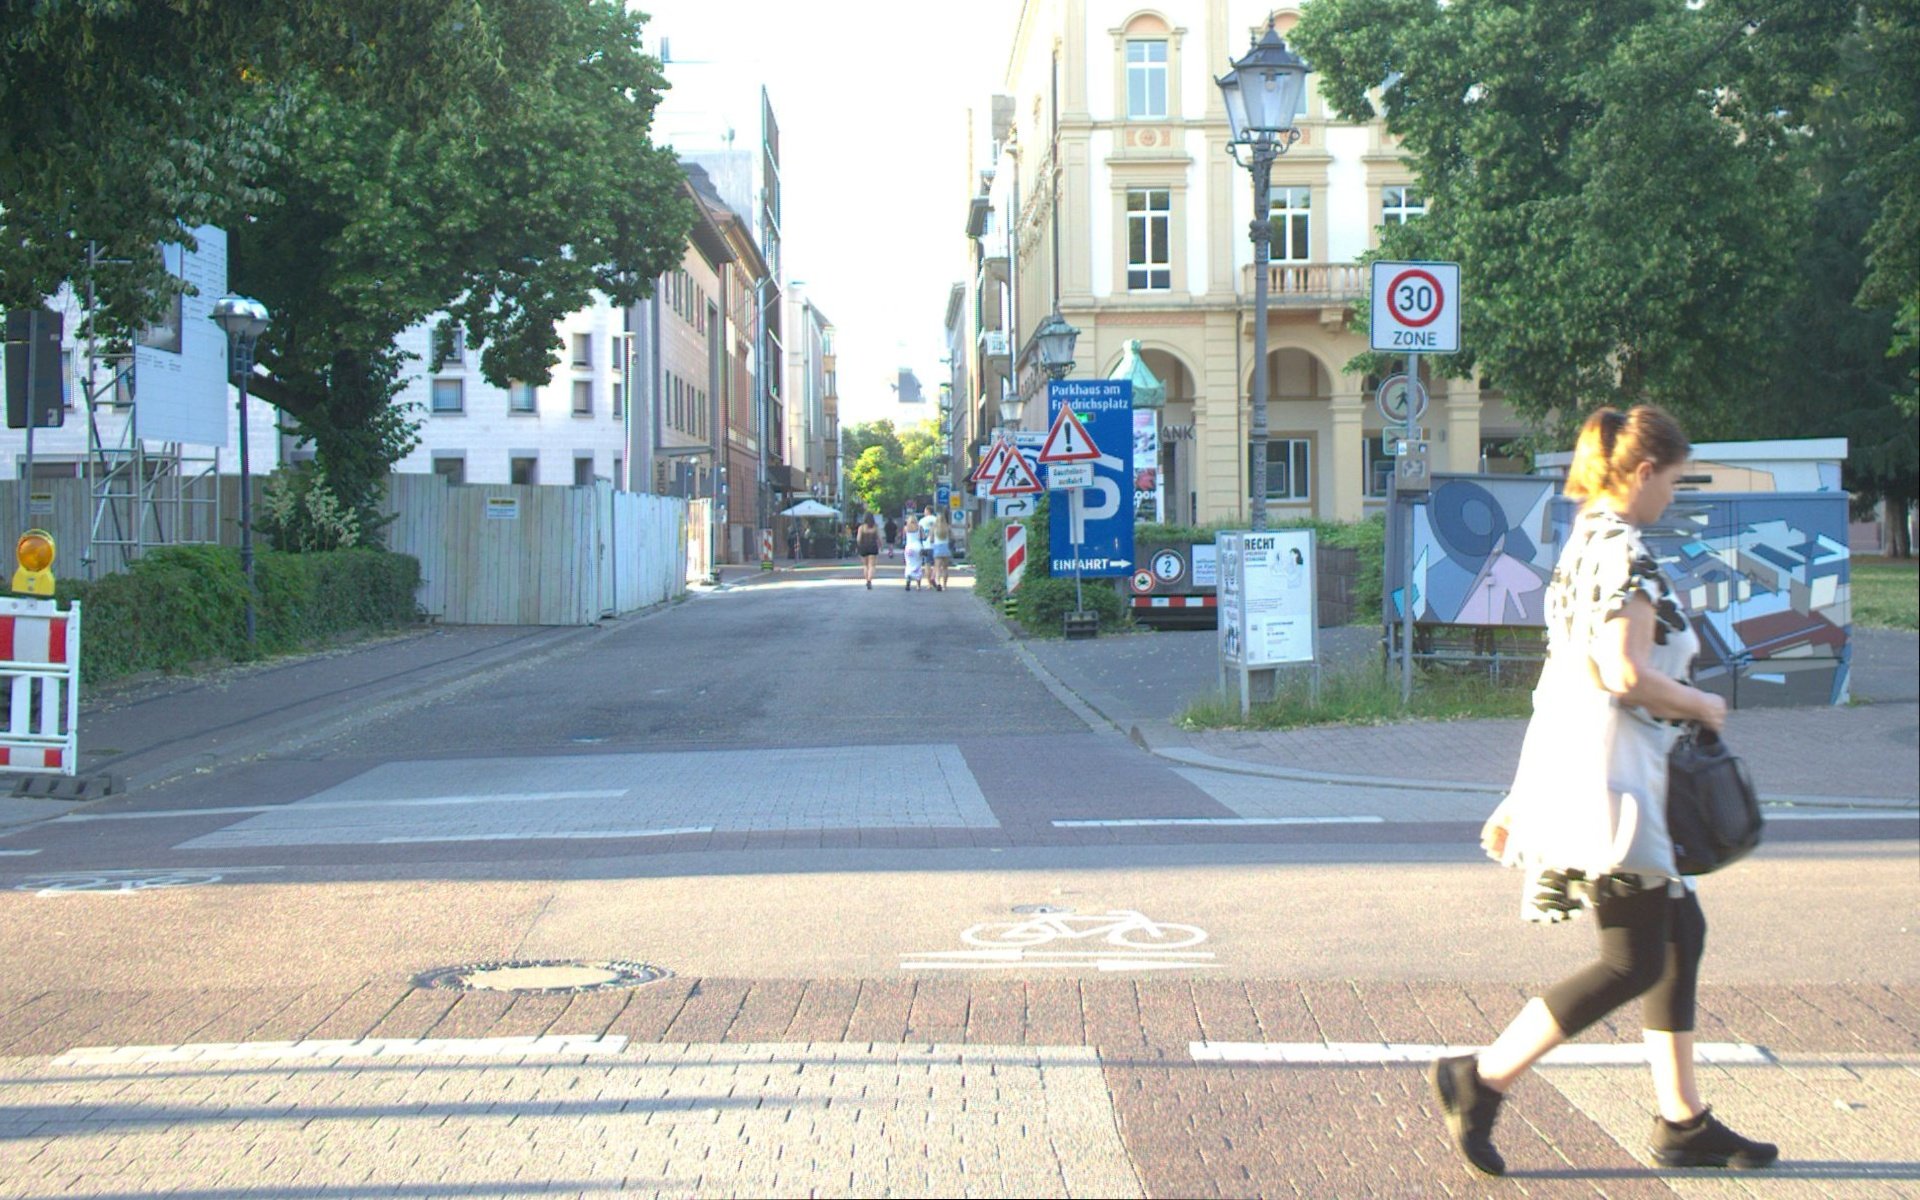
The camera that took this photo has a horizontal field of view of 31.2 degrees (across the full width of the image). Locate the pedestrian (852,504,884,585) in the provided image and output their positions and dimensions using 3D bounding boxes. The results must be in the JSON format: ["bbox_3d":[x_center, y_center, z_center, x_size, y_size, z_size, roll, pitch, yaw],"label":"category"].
[{"bbox_3d":[-2.006,-1.212,75.340,0.657,1.754,0.745,-1,1,0],"label":"pedestrian"}]

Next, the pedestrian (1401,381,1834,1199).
[{"bbox_3d":[1.383,0.396,7.359,0.734,1.683,0.836,-1,1,-1],"label":"pedestrian"}]

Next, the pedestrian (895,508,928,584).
[{"bbox_3d":[-1.042,-1.170,74.019,0.657,1.611,0.745,-1,1,0],"label":"pedestrian"}]

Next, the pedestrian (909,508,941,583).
[{"bbox_3d":[-0.762,-1.198,75.398,0.657,1.630,0.745,-1,1,0],"label":"pedestrian"}]

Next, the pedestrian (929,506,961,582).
[{"bbox_3d":[-0.319,-1.217,74.091,0.657,1.611,0.745,-1,1,0],"label":"pedestrian"}]
